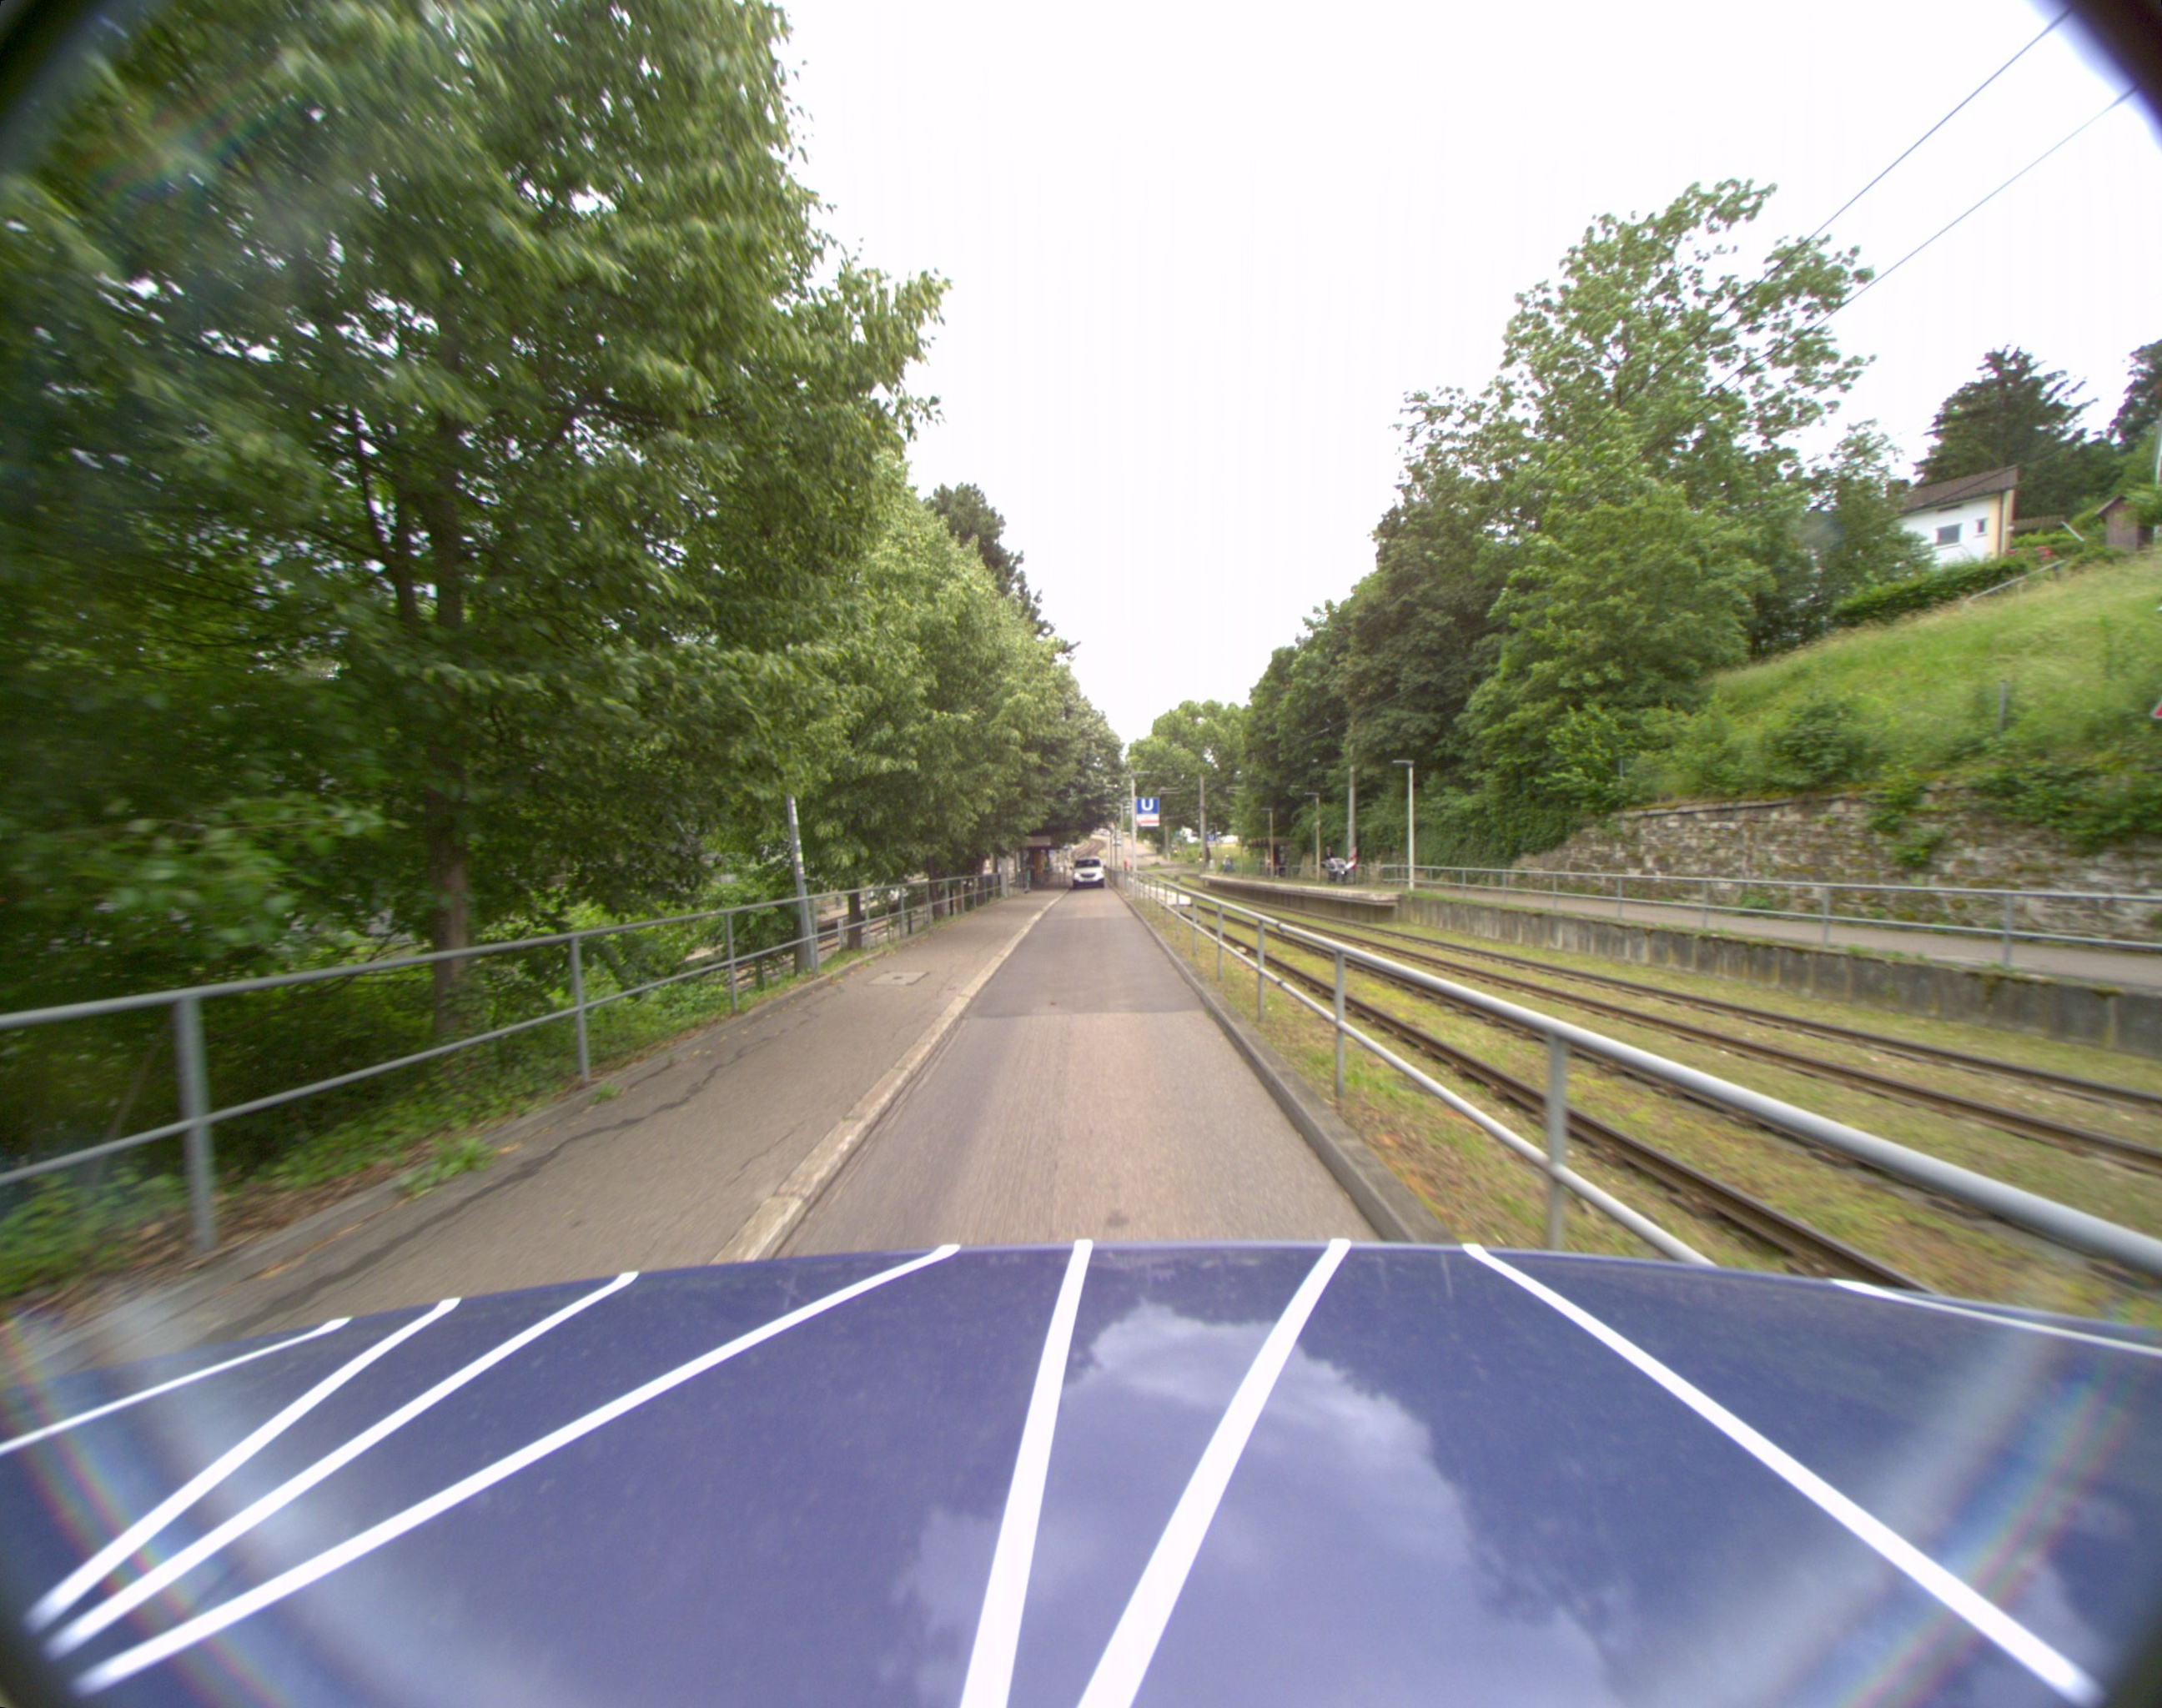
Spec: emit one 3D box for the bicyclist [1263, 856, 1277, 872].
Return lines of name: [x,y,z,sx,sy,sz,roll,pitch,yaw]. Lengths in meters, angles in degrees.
bicyclist: [12.737,0.668,51.204,0.691,1.047,0.744,-2,0,1]

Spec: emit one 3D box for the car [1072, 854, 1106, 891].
car: [0.484,0.996,43.682,1.810,1.910,4.478,-2,1,1]

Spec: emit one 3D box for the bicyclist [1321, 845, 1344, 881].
bicyclist: [11.786,0.431,35.643,0.706,1.619,1.033,-3,0,4]

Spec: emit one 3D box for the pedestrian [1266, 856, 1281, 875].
pedestrian: [13.691,0.815,54.037,0.823,1.315,0.774,-2,1,-5]

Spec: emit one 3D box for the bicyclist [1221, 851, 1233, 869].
bicyclist: [12.070,0.489,62.827,0.747,1.422,0.907,-2,-1,-8]

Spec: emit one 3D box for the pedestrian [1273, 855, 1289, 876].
pedestrian: [13.889,0.784,52.853,0.823,1.367,0.774,-2,1,-5]

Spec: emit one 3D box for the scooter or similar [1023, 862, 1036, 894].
scooter or similar: [-2.301,1.053,34.189,0.431,1.376,1.455,-2,1,1]

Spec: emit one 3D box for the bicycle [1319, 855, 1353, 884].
bicycle: [11.711,0.687,34.946,0.752,1.232,2.868,-3,-1,5]

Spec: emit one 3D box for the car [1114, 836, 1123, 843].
car: [9.458,-3.652,191.371,1.997,1.648,4.002,-2,1,7]

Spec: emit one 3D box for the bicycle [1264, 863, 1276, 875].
bicycle: [12.707,0.996,51.166,0.451,0.776,1.565,-2,-1,1]

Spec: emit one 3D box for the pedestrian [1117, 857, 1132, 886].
pedestrian: [2.297,0.942,40.099,0.739,1.493,0.627,-2,0,2]

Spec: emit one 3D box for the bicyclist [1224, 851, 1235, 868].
bicyclist: [12.743,0.473,65.208,0.732,1.434,0.840,-2,-1,0]

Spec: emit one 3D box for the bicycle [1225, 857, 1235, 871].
bicycle: [12.714,0.861,65.071,0.464,1.181,1.940,-2,-1,1]

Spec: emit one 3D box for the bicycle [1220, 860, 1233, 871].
bicycle: [12.042,0.958,62.899,0.479,0.919,1.843,-2,-1,-8]
